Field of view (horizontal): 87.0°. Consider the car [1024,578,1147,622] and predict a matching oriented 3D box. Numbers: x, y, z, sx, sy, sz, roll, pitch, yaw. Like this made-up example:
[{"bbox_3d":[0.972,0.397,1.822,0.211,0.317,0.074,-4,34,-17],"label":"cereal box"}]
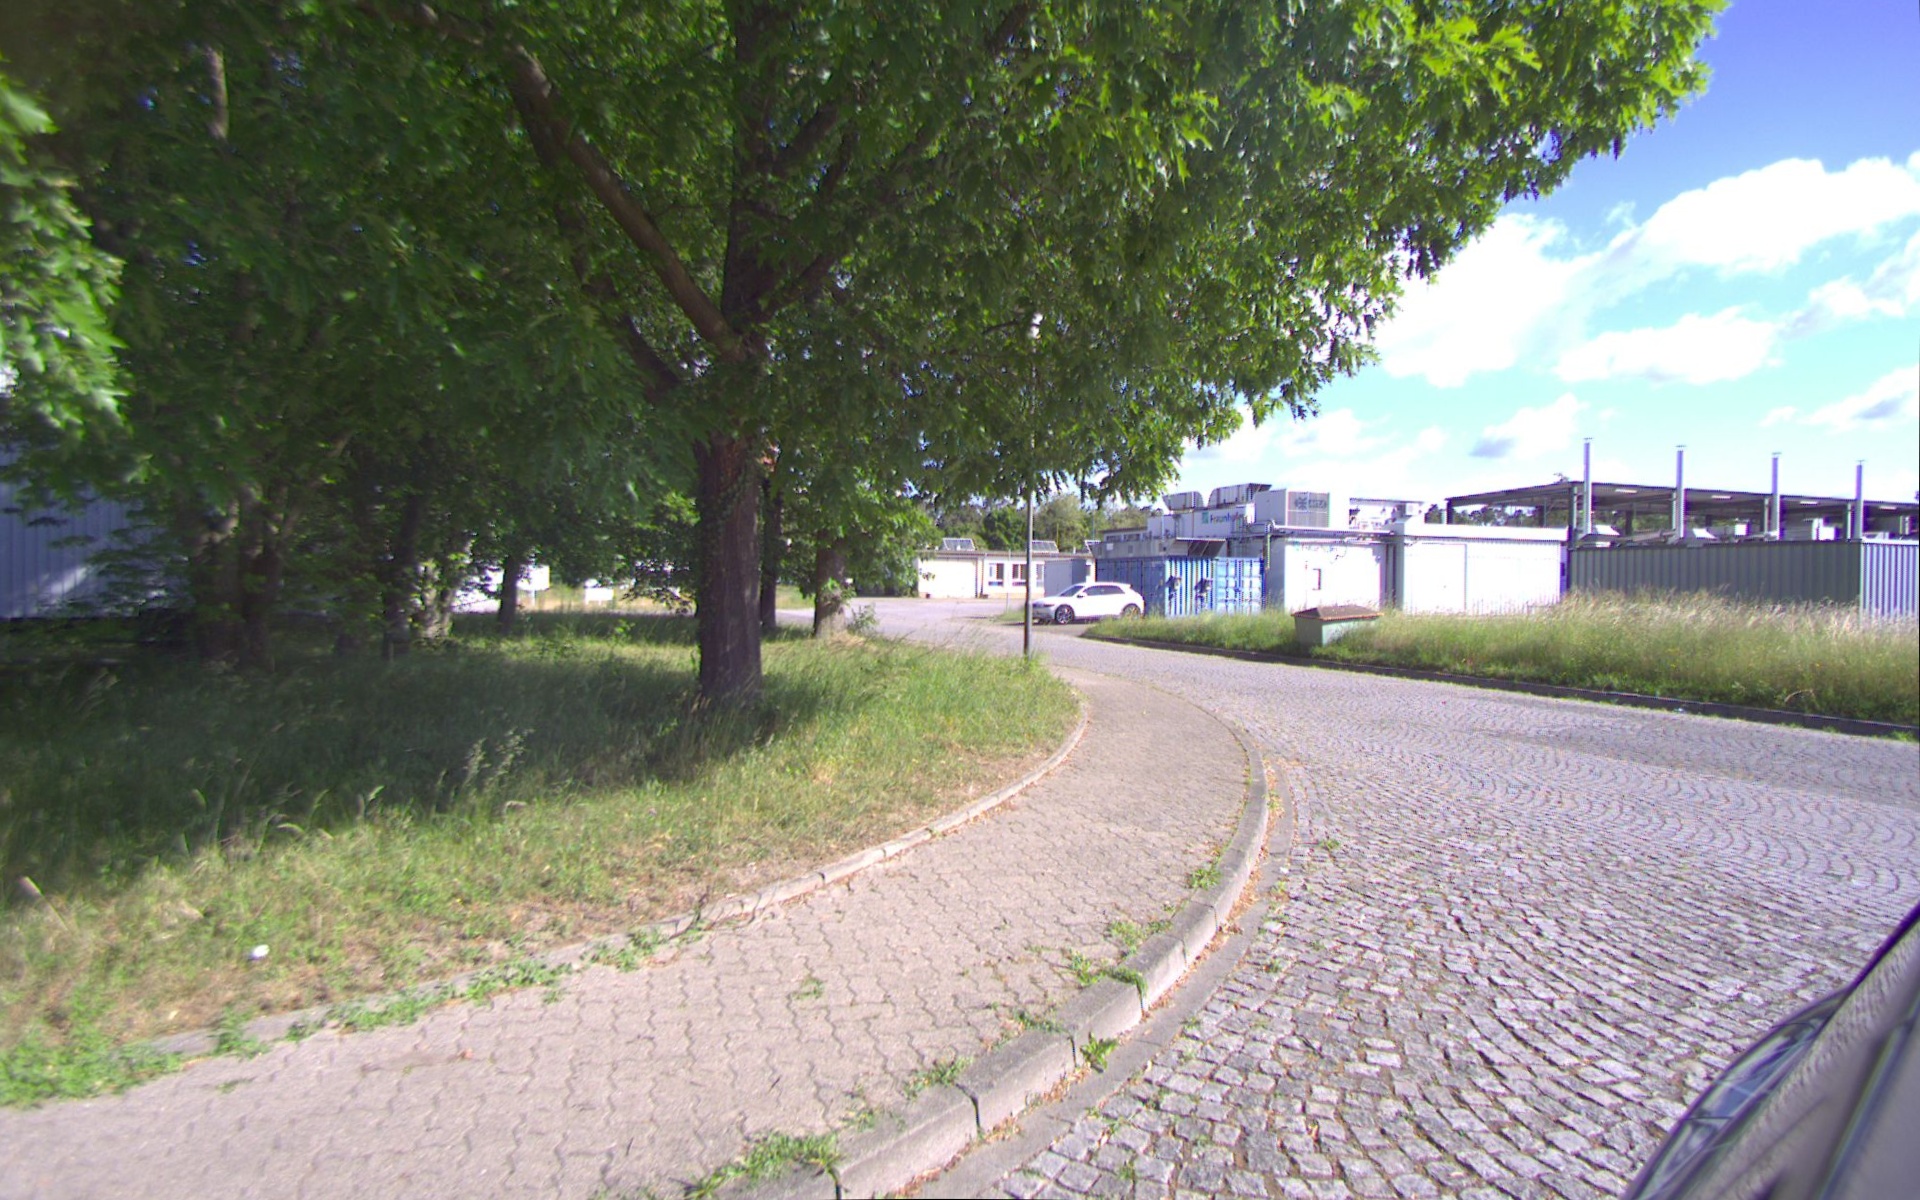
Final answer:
[{"bbox_3d":[4.899,-0.024,39.483,4.425,1.613,1.828,-1,0,-21],"label":"car"}]
